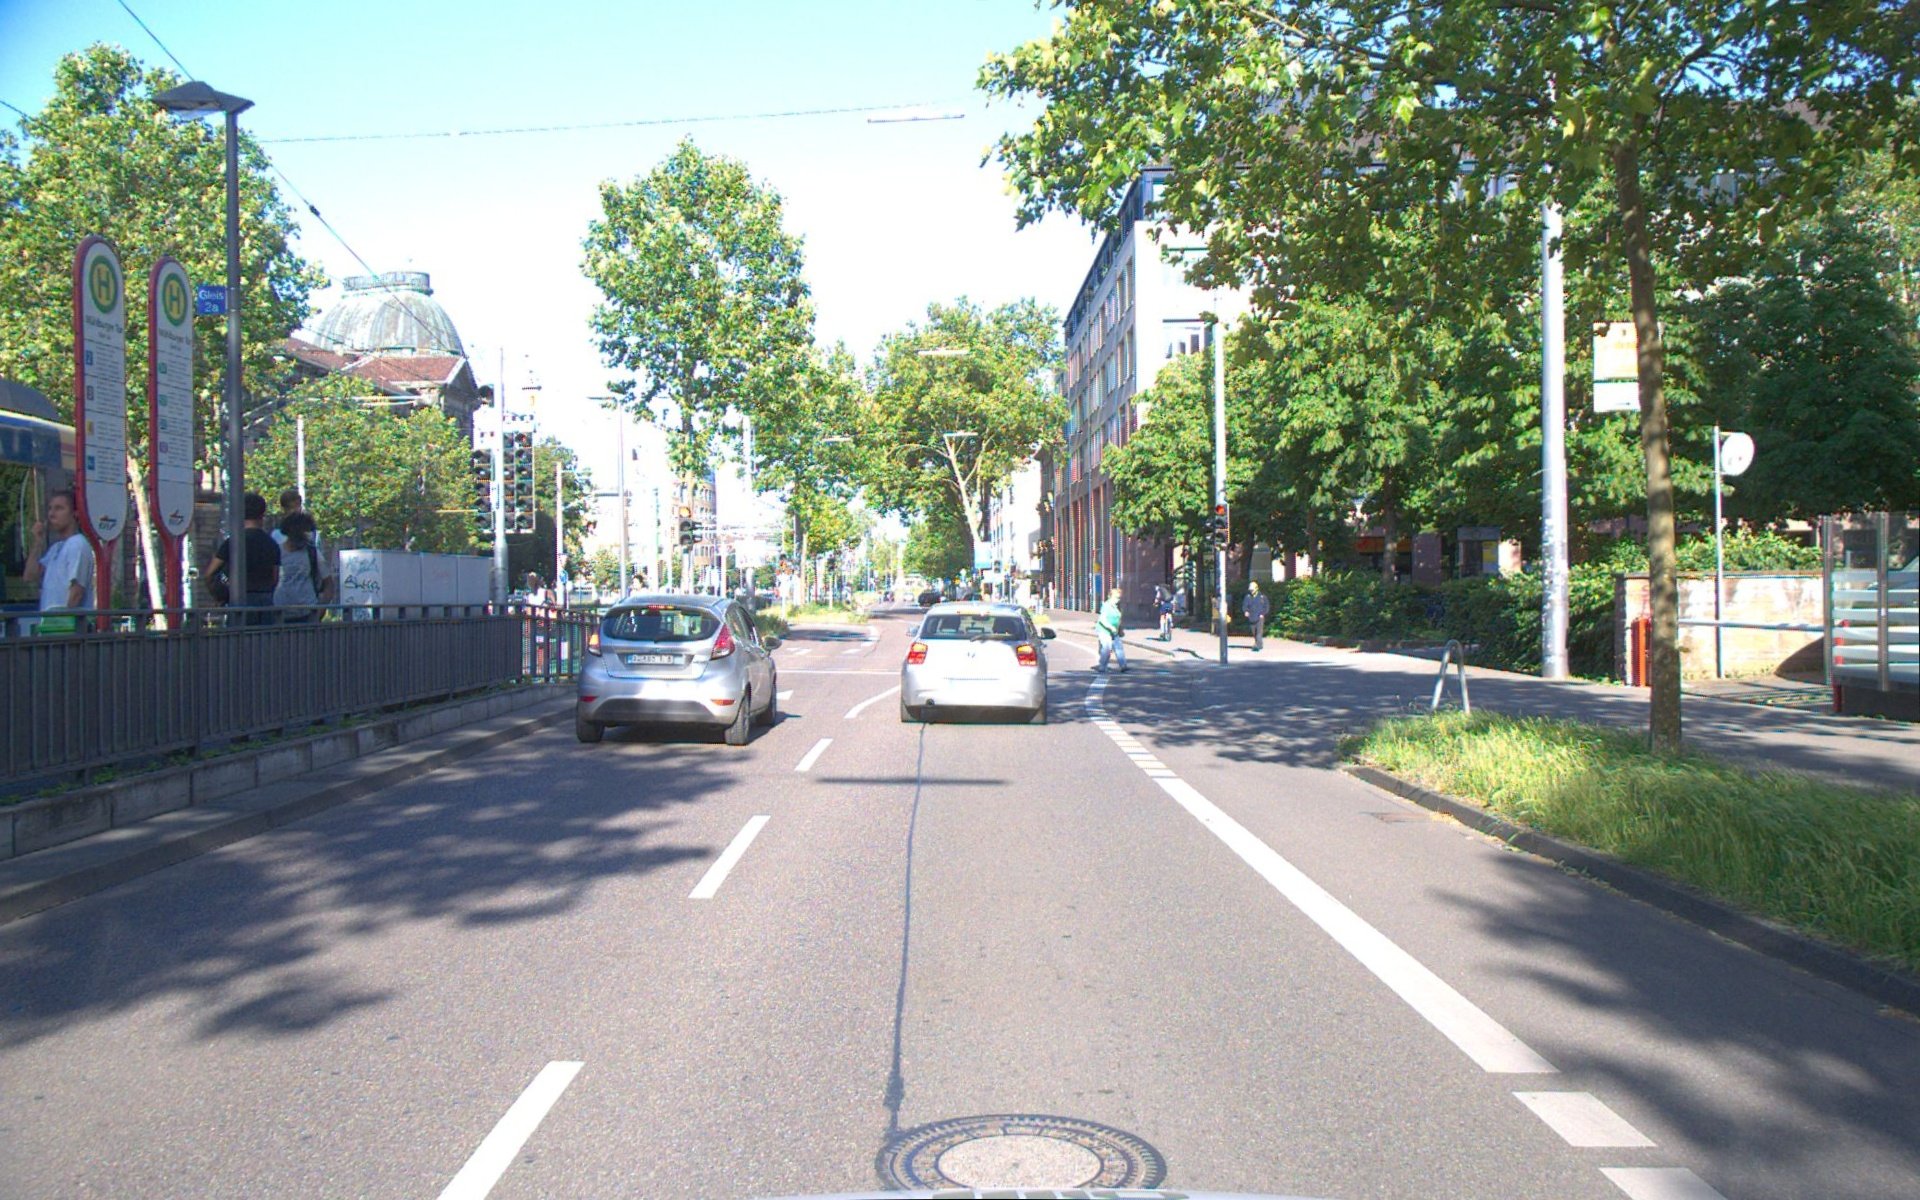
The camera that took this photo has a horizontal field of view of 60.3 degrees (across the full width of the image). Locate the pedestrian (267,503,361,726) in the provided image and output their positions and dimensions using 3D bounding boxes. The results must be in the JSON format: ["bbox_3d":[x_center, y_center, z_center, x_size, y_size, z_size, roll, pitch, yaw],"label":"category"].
[{"bbox_3d":[-5.262,0.111,13.478,0.545,1.764,0.532,-1,0,-41],"label":"pedestrian"}]

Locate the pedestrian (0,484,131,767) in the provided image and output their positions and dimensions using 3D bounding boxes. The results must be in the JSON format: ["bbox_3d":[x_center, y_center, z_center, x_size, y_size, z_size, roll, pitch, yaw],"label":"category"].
[{"bbox_3d":[-5.642,0.153,10.455,0.495,1.732,0.611,-1,0,-5],"label":"pedestrian"}]

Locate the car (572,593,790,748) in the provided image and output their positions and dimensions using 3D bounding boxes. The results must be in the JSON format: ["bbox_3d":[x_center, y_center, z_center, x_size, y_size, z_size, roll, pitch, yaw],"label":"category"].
[{"bbox_3d":[-2.807,0.662,17.348,1.626,1.434,3.632,1,0,0],"label":"car"}]

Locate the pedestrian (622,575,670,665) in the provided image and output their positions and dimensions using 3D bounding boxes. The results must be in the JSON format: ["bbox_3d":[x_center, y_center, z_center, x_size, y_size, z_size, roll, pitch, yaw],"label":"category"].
[{"bbox_3d":[-5.852,0.375,30.819,0.631,1.648,0.637,-3,-3,43],"label":"pedestrian"}]

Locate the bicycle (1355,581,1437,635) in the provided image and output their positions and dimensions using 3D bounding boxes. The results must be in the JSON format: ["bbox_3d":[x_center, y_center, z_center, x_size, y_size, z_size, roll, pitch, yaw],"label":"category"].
[{"bbox_3d":[11.396,0.200,43.278,1.955,1.337,0.574,-2,0,2],"label":"bicycle"}]

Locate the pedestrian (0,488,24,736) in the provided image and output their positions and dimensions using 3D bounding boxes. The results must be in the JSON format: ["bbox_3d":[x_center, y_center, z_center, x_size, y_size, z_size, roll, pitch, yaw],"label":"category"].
[{"bbox_3d":[-7.001,0.087,11.448,0.620,1.732,0.746,-1,0,-5],"label":"pedestrian"}]

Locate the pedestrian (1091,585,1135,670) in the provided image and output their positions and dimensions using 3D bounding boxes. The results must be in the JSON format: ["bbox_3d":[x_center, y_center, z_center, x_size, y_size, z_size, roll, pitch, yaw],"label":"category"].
[{"bbox_3d":[2.905,0.518,31.388,0.812,1.603,0.739,0,0,7],"label":"pedestrian"}]

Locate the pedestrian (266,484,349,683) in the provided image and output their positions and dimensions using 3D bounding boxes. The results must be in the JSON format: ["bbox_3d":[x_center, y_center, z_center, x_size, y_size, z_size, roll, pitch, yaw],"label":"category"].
[{"bbox_3d":[-5.925,-0.153,15.030,0.537,1.764,0.539,-1,0,-5],"label":"pedestrian"}]

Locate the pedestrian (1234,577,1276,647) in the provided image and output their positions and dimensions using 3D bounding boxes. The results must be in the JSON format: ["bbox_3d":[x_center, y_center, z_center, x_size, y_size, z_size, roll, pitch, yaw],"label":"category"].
[{"bbox_3d":[7.041,0.278,39.502,0.616,1.657,0.939,0,0,38],"label":"pedestrian"}]

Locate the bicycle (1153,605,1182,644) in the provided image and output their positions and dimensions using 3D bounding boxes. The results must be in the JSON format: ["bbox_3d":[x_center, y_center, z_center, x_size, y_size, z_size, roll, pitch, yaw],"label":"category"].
[{"bbox_3d":[6.122,0.709,48.724,0.814,1.059,1.876,-1,0,8],"label":"bicycle"}]

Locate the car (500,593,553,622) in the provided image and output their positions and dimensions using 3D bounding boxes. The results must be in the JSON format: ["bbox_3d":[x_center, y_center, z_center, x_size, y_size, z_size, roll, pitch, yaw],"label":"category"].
[{"bbox_3d":[-25.891,0.436,98.906,1.952,1.653,4.001,0,0,2],"label":"car"}]

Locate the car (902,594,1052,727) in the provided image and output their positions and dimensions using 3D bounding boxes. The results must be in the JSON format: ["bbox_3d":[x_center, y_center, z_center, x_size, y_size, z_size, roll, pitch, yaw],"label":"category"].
[{"bbox_3d":[0.267,0.679,20.726,1.694,1.414,3.841,1,1,2],"label":"car"}]

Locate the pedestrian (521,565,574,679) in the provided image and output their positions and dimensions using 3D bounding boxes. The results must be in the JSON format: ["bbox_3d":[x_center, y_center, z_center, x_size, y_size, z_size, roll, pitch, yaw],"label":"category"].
[{"bbox_3d":[-5.826,0.304,23.397,0.618,1.584,0.646,-1,0,-5],"label":"pedestrian"}]

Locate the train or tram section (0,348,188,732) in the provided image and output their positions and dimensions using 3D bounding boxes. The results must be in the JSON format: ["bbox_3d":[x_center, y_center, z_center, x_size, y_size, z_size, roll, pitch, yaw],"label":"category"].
[{"bbox_3d":[-9.687,-0.579,11.238,2.855,3.317,13.109,1,-1,-1],"label":"train or tram section"}]

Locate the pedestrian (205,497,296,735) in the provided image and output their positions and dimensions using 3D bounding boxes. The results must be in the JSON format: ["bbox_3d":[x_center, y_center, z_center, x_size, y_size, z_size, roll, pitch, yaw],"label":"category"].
[{"bbox_3d":[-5.394,0.111,12.601,0.539,1.764,0.537,-1,0,-16],"label":"pedestrian"}]

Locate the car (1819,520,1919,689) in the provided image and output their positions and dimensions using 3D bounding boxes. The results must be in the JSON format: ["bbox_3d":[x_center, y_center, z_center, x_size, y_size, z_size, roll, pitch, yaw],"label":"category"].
[{"bbox_3d":[13.754,-0.091,20.831,4.798,2.019,1.913,-3,0,-1],"label":"car"}]

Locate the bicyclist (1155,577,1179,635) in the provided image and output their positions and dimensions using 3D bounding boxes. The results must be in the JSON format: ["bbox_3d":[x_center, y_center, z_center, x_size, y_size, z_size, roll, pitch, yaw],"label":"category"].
[{"bbox_3d":[6.099,0.170,48.664,0.644,1.686,0.765,-1,0,8],"label":"bicyclist"}]
